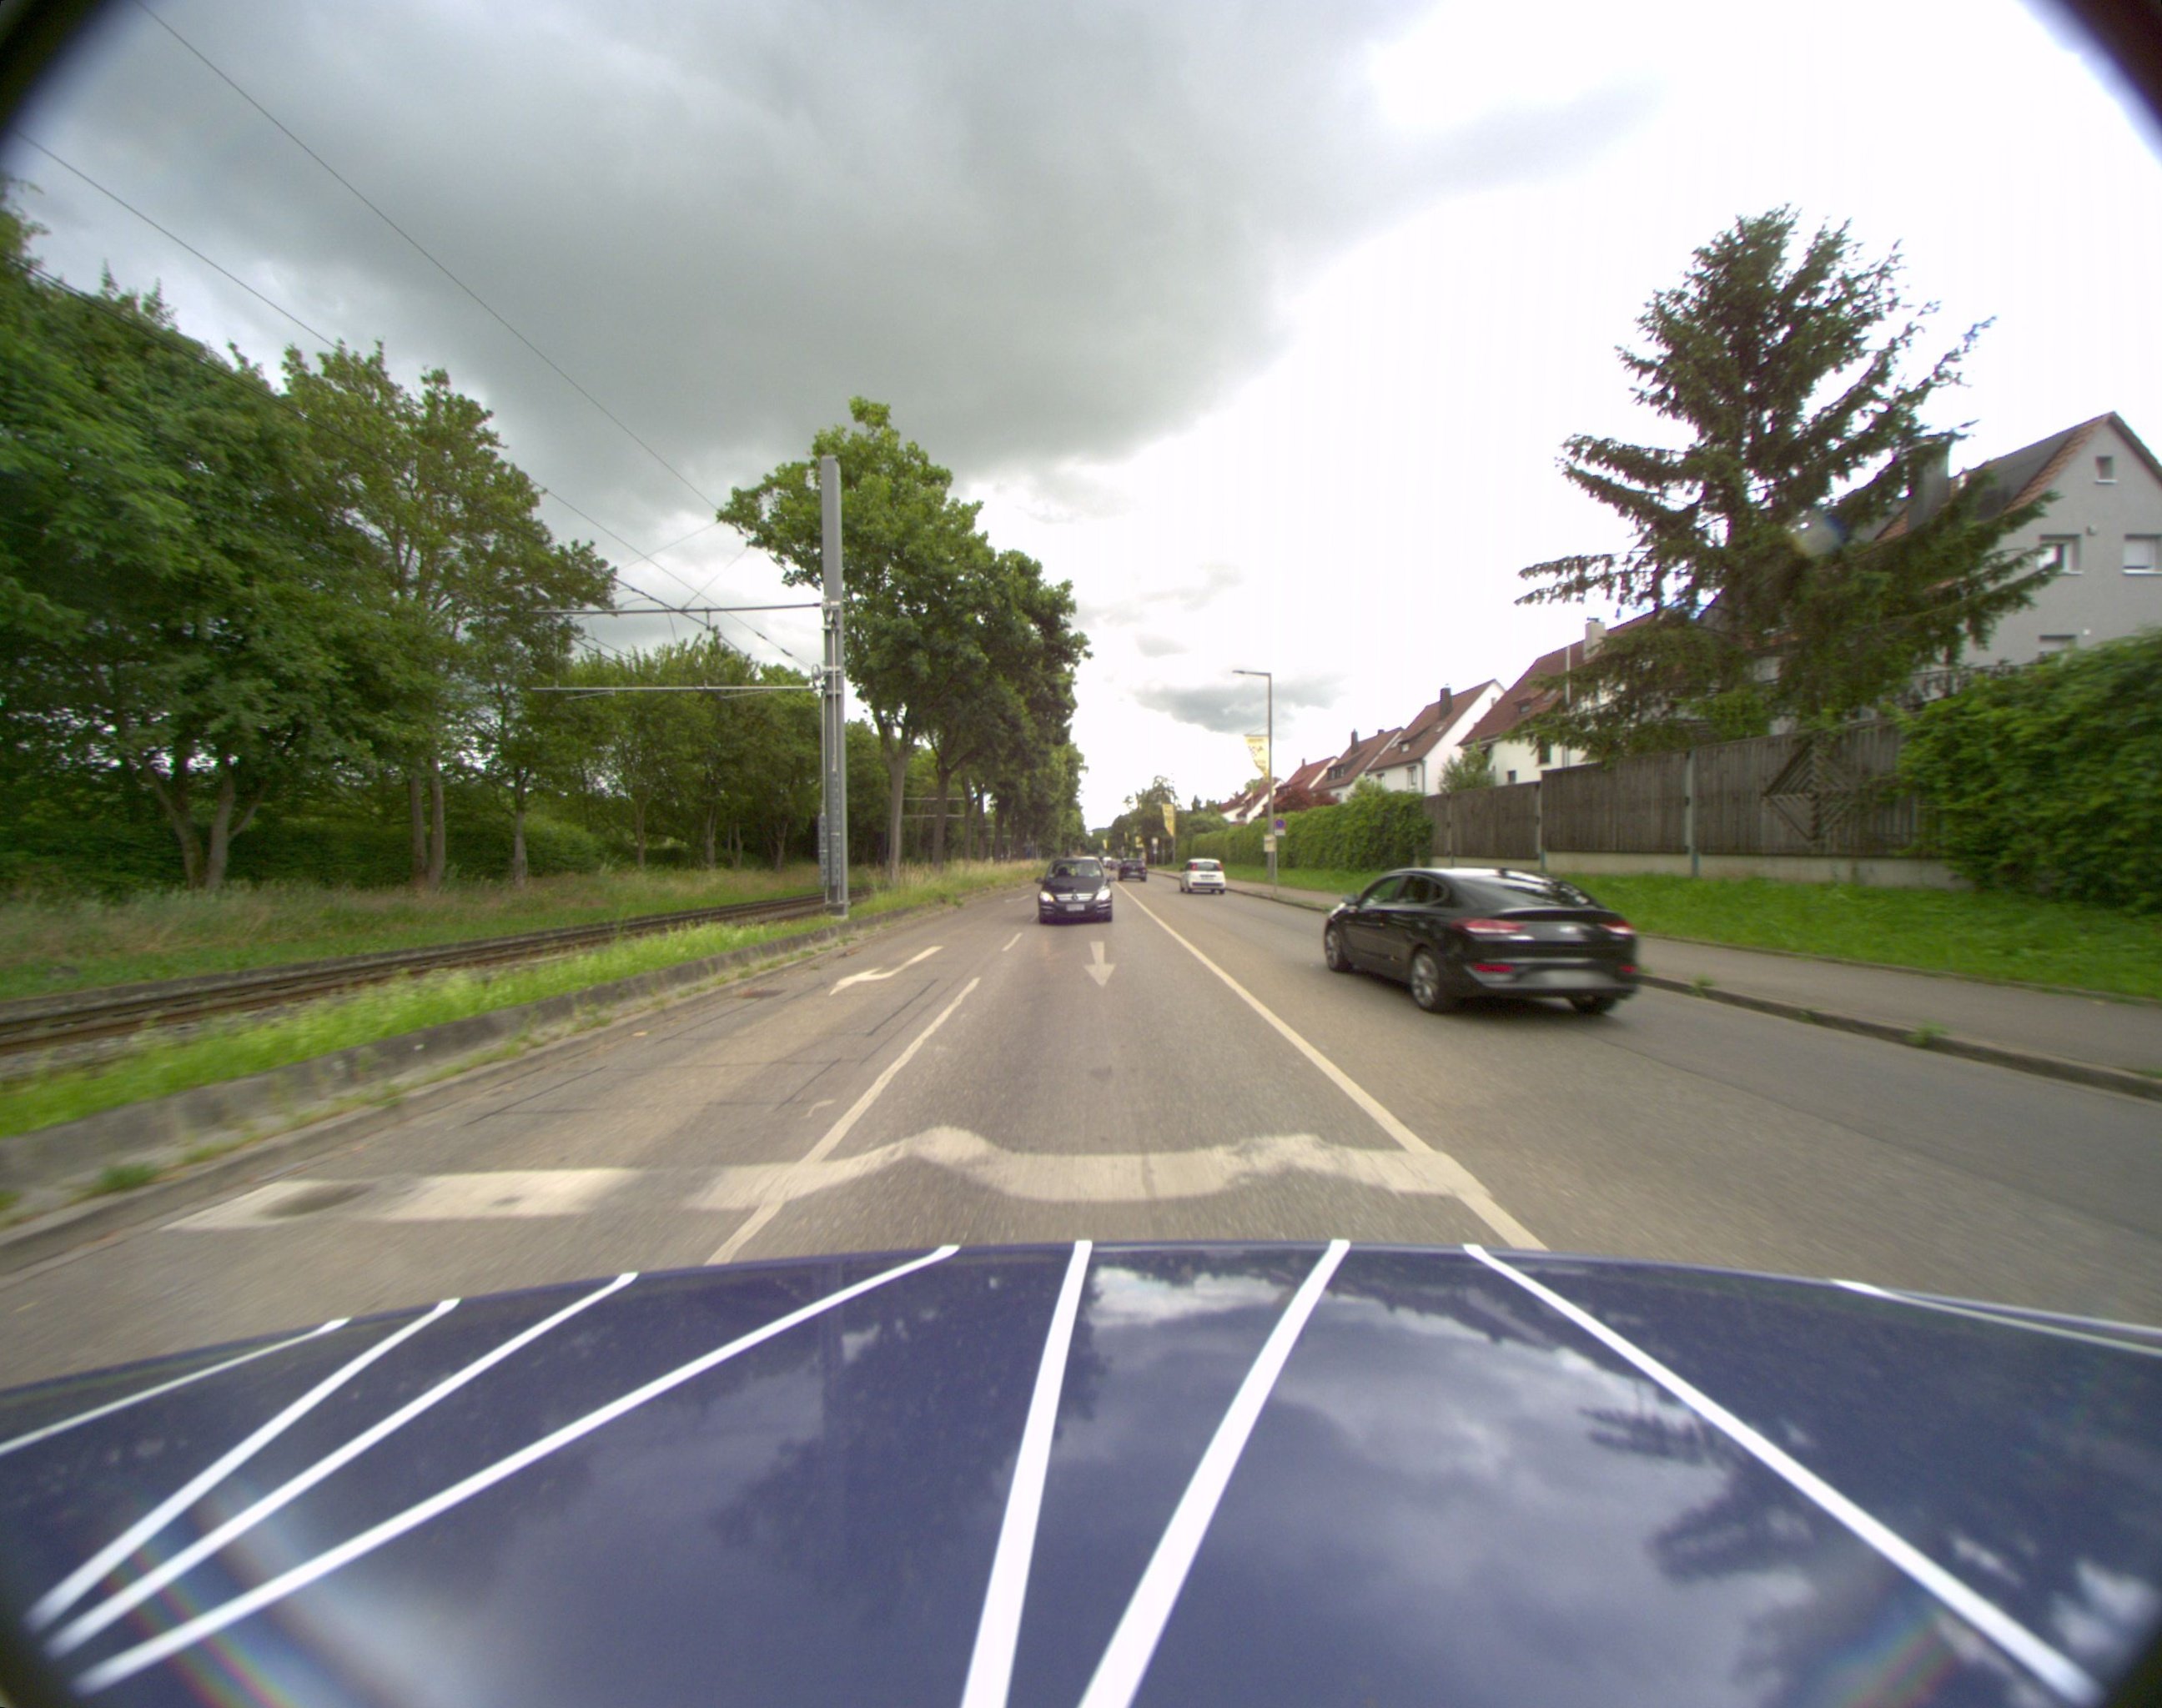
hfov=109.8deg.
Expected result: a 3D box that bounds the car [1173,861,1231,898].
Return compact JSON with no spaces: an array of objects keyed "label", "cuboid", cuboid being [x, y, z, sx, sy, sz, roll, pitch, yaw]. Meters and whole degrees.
[{"label":"car","cuboid":[5.404,1.102,34.582,1.817,1.515,4.700,1,0,-1]}]

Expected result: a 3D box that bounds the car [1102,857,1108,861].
[{"label":"car","cuboid":[7.290,1.463,230.065,1.737,1.367,4.240,0,0,0]}]

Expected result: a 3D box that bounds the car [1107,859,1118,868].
[{"label":"car","cuboid":[5.322,1.606,127.559,1.756,1.509,4.001,-1,0,2]}]

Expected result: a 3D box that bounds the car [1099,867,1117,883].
[{"label":"car","cuboid":[2.688,2.033,75.915,1.647,1.472,4.107,1,0,0]}]

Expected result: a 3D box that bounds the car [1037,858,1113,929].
[{"label":"car","cuboid":[-0.130,0.928,19.752,1.683,1.565,4.482,-2,0,0]}]

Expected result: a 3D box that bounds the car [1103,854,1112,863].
[{"label":"car","cuboid":[6.140,0.946,174.753,1.911,1.921,4.910,2,0,0]}]

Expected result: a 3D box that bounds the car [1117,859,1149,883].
[{"label":"car","cuboid":[3.485,1.126,51.455,1.817,1.515,4.177,1,0,-1]}]

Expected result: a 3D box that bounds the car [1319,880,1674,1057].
[{"label":"car","cuboid":[4.209,1.053,8.596,1.817,1.365,4.160,0,0,1]}]

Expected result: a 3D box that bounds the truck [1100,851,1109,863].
[{"label":"truck","cuboid":[7.965,0.856,258.344,2.556,4.020,10.619,1,0,0]}]

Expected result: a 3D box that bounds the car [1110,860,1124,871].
[{"label":"car","cuboid":[4.838,1.505,102.616,1.732,1.455,4.153,0,0,1]}]
